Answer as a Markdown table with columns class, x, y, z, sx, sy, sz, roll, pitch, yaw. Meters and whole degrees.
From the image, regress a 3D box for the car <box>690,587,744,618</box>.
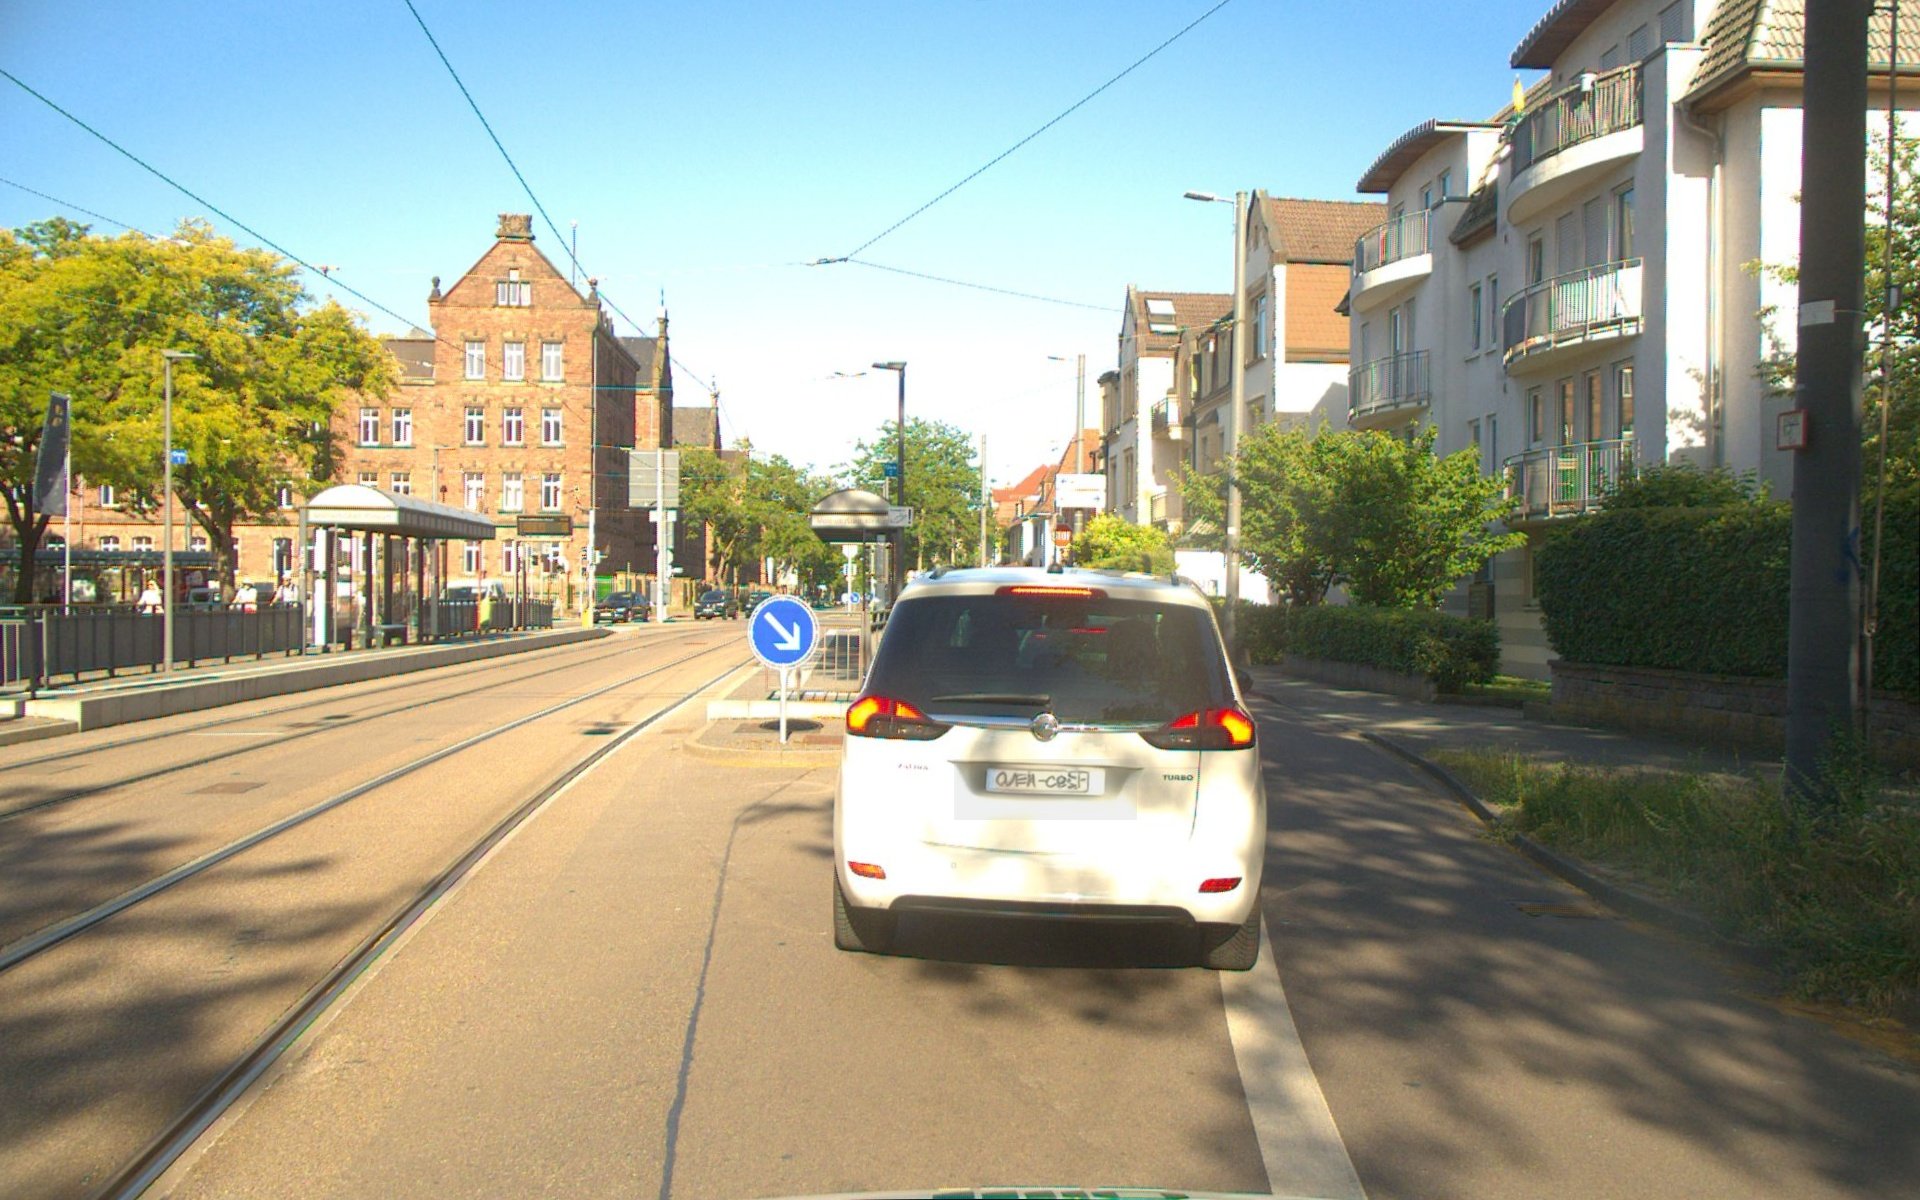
| class | x | y | z | sx | sy | sz | roll | pitch | yaw |
| --- | --- | --- | --- | --- | --- | --- | --- | --- | --- |
| car | -13.416 | 0.158 | 91.595 | 1.788 | 1.645 | 4.330 | 1 | -1 | 8 |

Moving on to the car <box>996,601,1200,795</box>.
| class | x | y | z | sx | sy | sz | roll | pitch | yaw |
| --- | --- | --- | --- | --- | --- | --- | --- | --- | --- |
| car | 1.228 | 0.764 | 14.787 | 1.536 | 1.426 | 3.786 | 2 | 0 | 5 |

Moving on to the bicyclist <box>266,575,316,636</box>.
| class | x | y | z | sx | sy | sz | roll | pitch | yaw |
| --- | --- | --- | --- | --- | --- | --- | --- | --- | --- |
| bicyclist | -17.311 | 0.142 | 42.825 | 0.745 | 1.563 | 1.348 | 0 | 0 | -1 |

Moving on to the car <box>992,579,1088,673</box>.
| class | x | y | z | sx | sy | sz | roll | pitch | yaw |
| --- | --- | --- | --- | --- | --- | --- | --- | --- | --- |
| car | 1.513 | 0.473 | 32.313 | 1.563 | 1.663 | 3.900 | 2 | 0 | -1 |

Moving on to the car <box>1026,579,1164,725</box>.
| class | x | y | z | sx | sy | sz | roll | pitch | yaw |
| --- | --- | --- | --- | --- | --- | --- | --- | --- | --- |
| car | 1.717 | 0.591 | 21.046 | 1.536 | 1.643 | 3.786 | 2 | 0 | 5 |

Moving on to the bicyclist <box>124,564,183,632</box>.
| class | x | y | z | sx | sy | sz | roll | pitch | yaw |
| --- | --- | --- | --- | --- | --- | --- | --- | --- | --- |
| bicyclist | -18.072 | -0.040 | 37.076 | 0.741 | 1.496 | 1.190 | 1 | 0 | -3 |

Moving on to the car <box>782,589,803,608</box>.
| class | x | y | z | sx | sy | sz | roll | pitch | yaw |
| --- | --- | --- | --- | --- | --- | --- | --- | --- | --- |
| car | -14.817 | -0.151 | 146.507 | 1.629 | 1.680 | 3.998 | 0 | 0 | -3 |

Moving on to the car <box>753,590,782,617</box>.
| class | x | y | z | sx | sy | sz | roll | pitch | yaw |
| --- | --- | --- | --- | --- | --- | --- | --- | --- | --- |
| car | -13.663 | 0.272 | 117.546 | 1.791 | 1.819 | 4.323 | 1 | -1 | -4 |

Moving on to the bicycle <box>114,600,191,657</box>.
| class | x | y | z | sx | sy | sz | roll | pitch | yaw |
| --- | --- | --- | --- | --- | --- | --- | --- | --- | --- |
| bicycle | -18.080 | 0.625 | 37.071 | 0.799 | 1.219 | 1.952 | 1 | 0 | -3 |

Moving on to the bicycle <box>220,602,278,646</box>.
| class | x | y | z | sx | sy | sz | roll | pitch | yaw |
| --- | --- | --- | --- | --- | --- | --- | --- | --- | --- |
| bicycle | -18.394 | 0.608 | 42.831 | 0.655 | 1.091 | 2.014 | 1 | 1 | -1 |

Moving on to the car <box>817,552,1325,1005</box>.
| class | x | y | z | sx | sy | sz | roll | pitch | yaw |
| --- | --- | --- | --- | --- | --- | --- | --- | --- | --- |
| car | 0.562 | 0.638 | 8.082 | 1.838 | 1.613 | 4.002 | 1 | 0 | 5 |

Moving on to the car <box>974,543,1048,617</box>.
| class | x | y | z | sx | sy | sz | roll | pitch | yaw |
| --- | --- | --- | --- | --- | --- | --- | --- | --- | --- |
| car | 1.204 | -0.519 | 40.340 | 1.563 | 1.663 | 3.901 | 2 | 2 | -1 |

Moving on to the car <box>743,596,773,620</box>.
| class | x | y | z | sx | sy | sz | roll | pitch | yaw |
| --- | --- | --- | --- | --- | --- | --- | --- | --- | --- |
| car | -12.750 | 0.498 | 104.508 | 1.792 | 1.471 | 4.321 | 1 | -1 | -7 |

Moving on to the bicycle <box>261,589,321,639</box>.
| class | x | y | z | sx | sy | sz | roll | pitch | yaw |
| --- | --- | --- | --- | --- | --- | --- | --- | --- | --- |
| bicycle | -17.318 | 0.353 | 42.859 | 0.761 | 1.252 | 2.088 | 0 | 0 | -1 |

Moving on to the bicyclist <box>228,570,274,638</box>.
| class | x | y | z | sx | sy | sz | roll | pitch | yaw |
| --- | --- | --- | --- | --- | --- | --- | --- | --- | --- |
| bicyclist | -18.383 | 0.092 | 42.900 | 0.637 | 1.703 | 1.233 | 2 | 1 | -1 |

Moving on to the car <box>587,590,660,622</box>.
| class | x | y | z | sx | sy | sz | roll | pitch | yaw |
| --- | --- | --- | --- | --- | --- | --- | --- | --- | --- |
| car | -15.440 | 0.269 | 76.137 | 1.759 | 1.406 | 4.499 | 0 | 1 | 10 |

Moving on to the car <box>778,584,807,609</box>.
| class | x | y | z | sx | sy | sz | roll | pitch | yaw |
| --- | --- | --- | --- | --- | --- | --- | --- | --- | --- |
| car | -13.908 | -0.302 | 137.694 | 1.952 | 2.049 | 4.000 | 0 | 0 | 0 |

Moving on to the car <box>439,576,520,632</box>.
| class | x | y | z | sx | sy | sz | roll | pitch | yaw |
| --- | --- | --- | --- | --- | --- | --- | --- | --- | --- |
| car | -16.323 | 0.118 | 56.336 | 1.791 | 1.819 | 4.251 | 0 | 0 | -4 |
